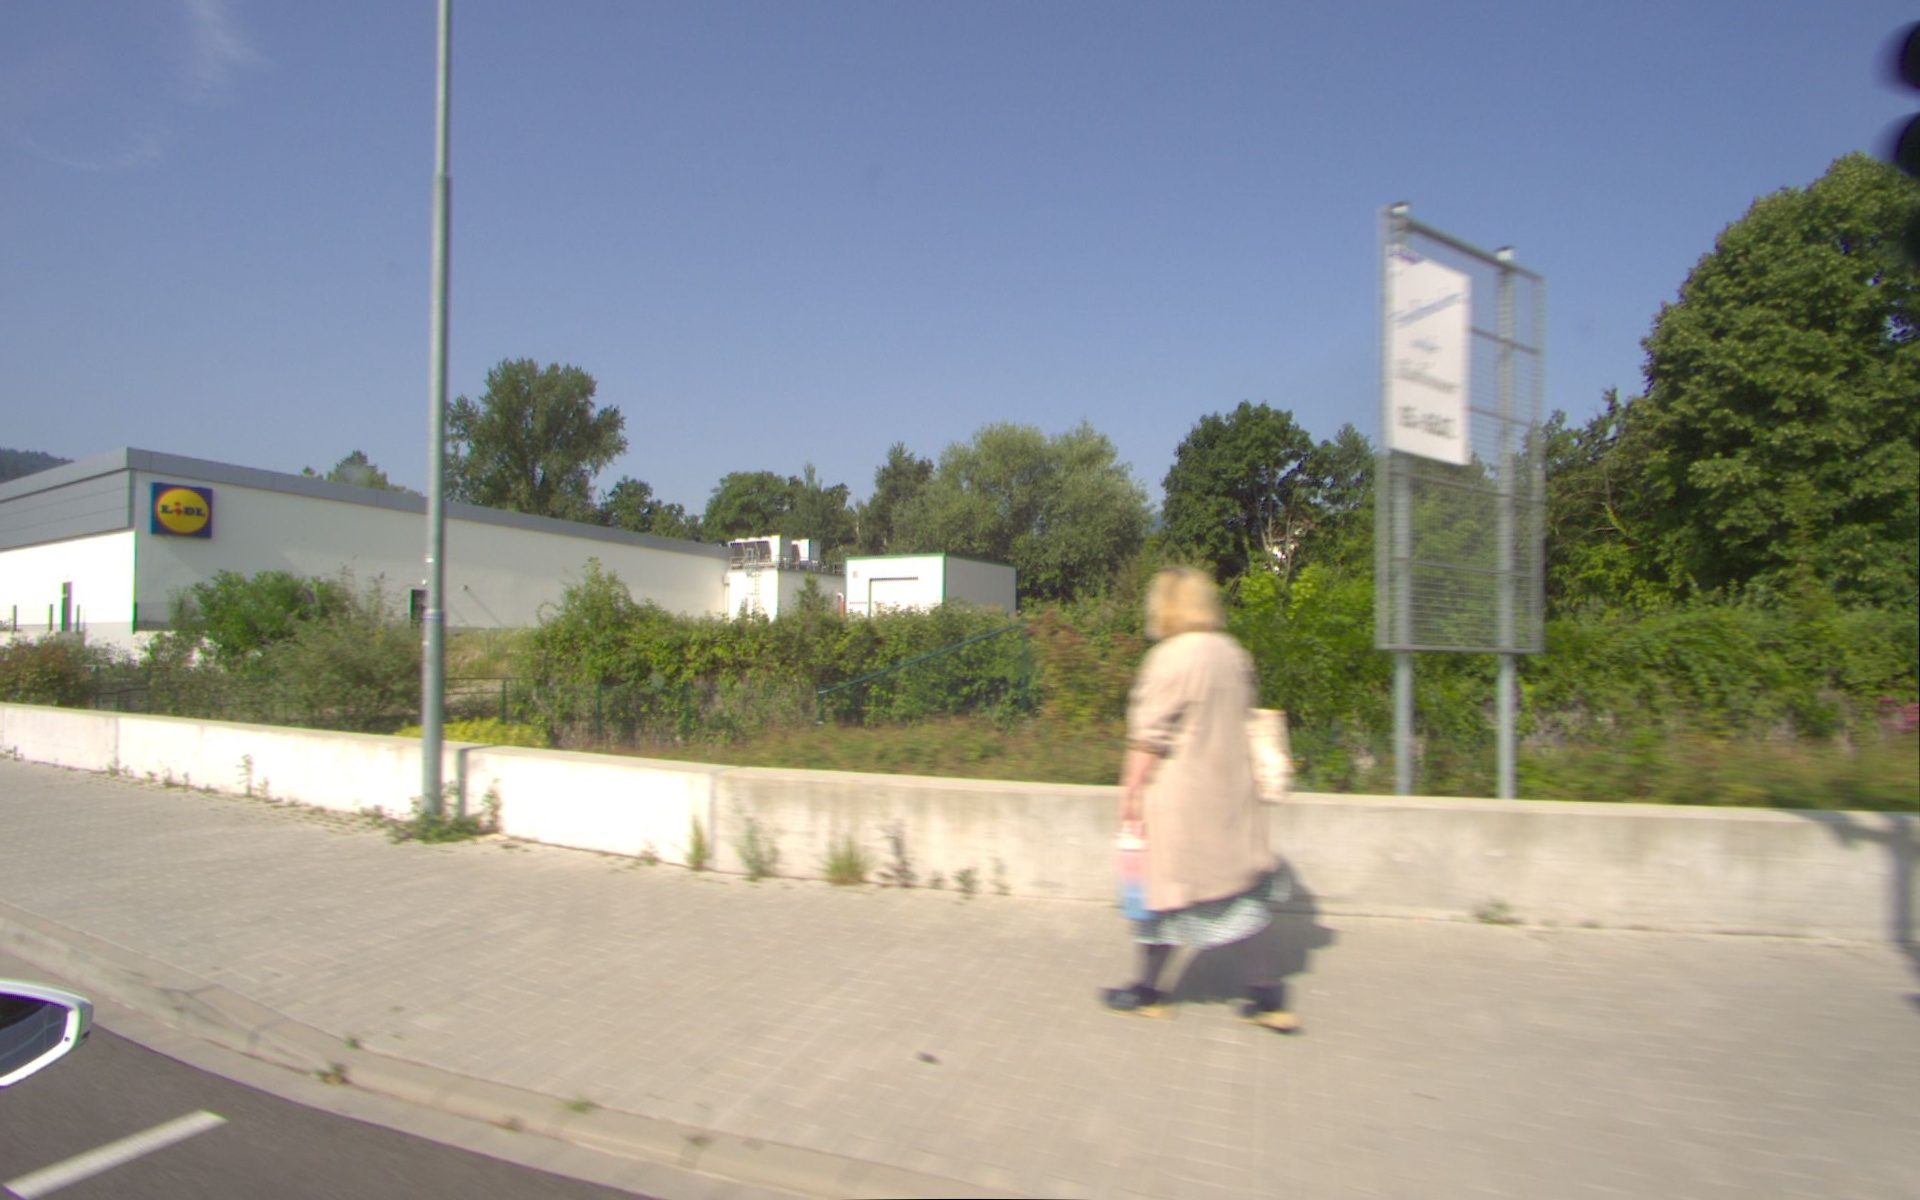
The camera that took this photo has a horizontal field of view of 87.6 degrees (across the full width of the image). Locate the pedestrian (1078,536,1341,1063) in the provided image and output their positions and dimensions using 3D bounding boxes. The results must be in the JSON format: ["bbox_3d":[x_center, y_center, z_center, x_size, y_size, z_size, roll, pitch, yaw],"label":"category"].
[{"bbox_3d":[0.885,0.655,3.636,0.701,1.692,0.591,0,-2,-22],"label":"pedestrian"}]
